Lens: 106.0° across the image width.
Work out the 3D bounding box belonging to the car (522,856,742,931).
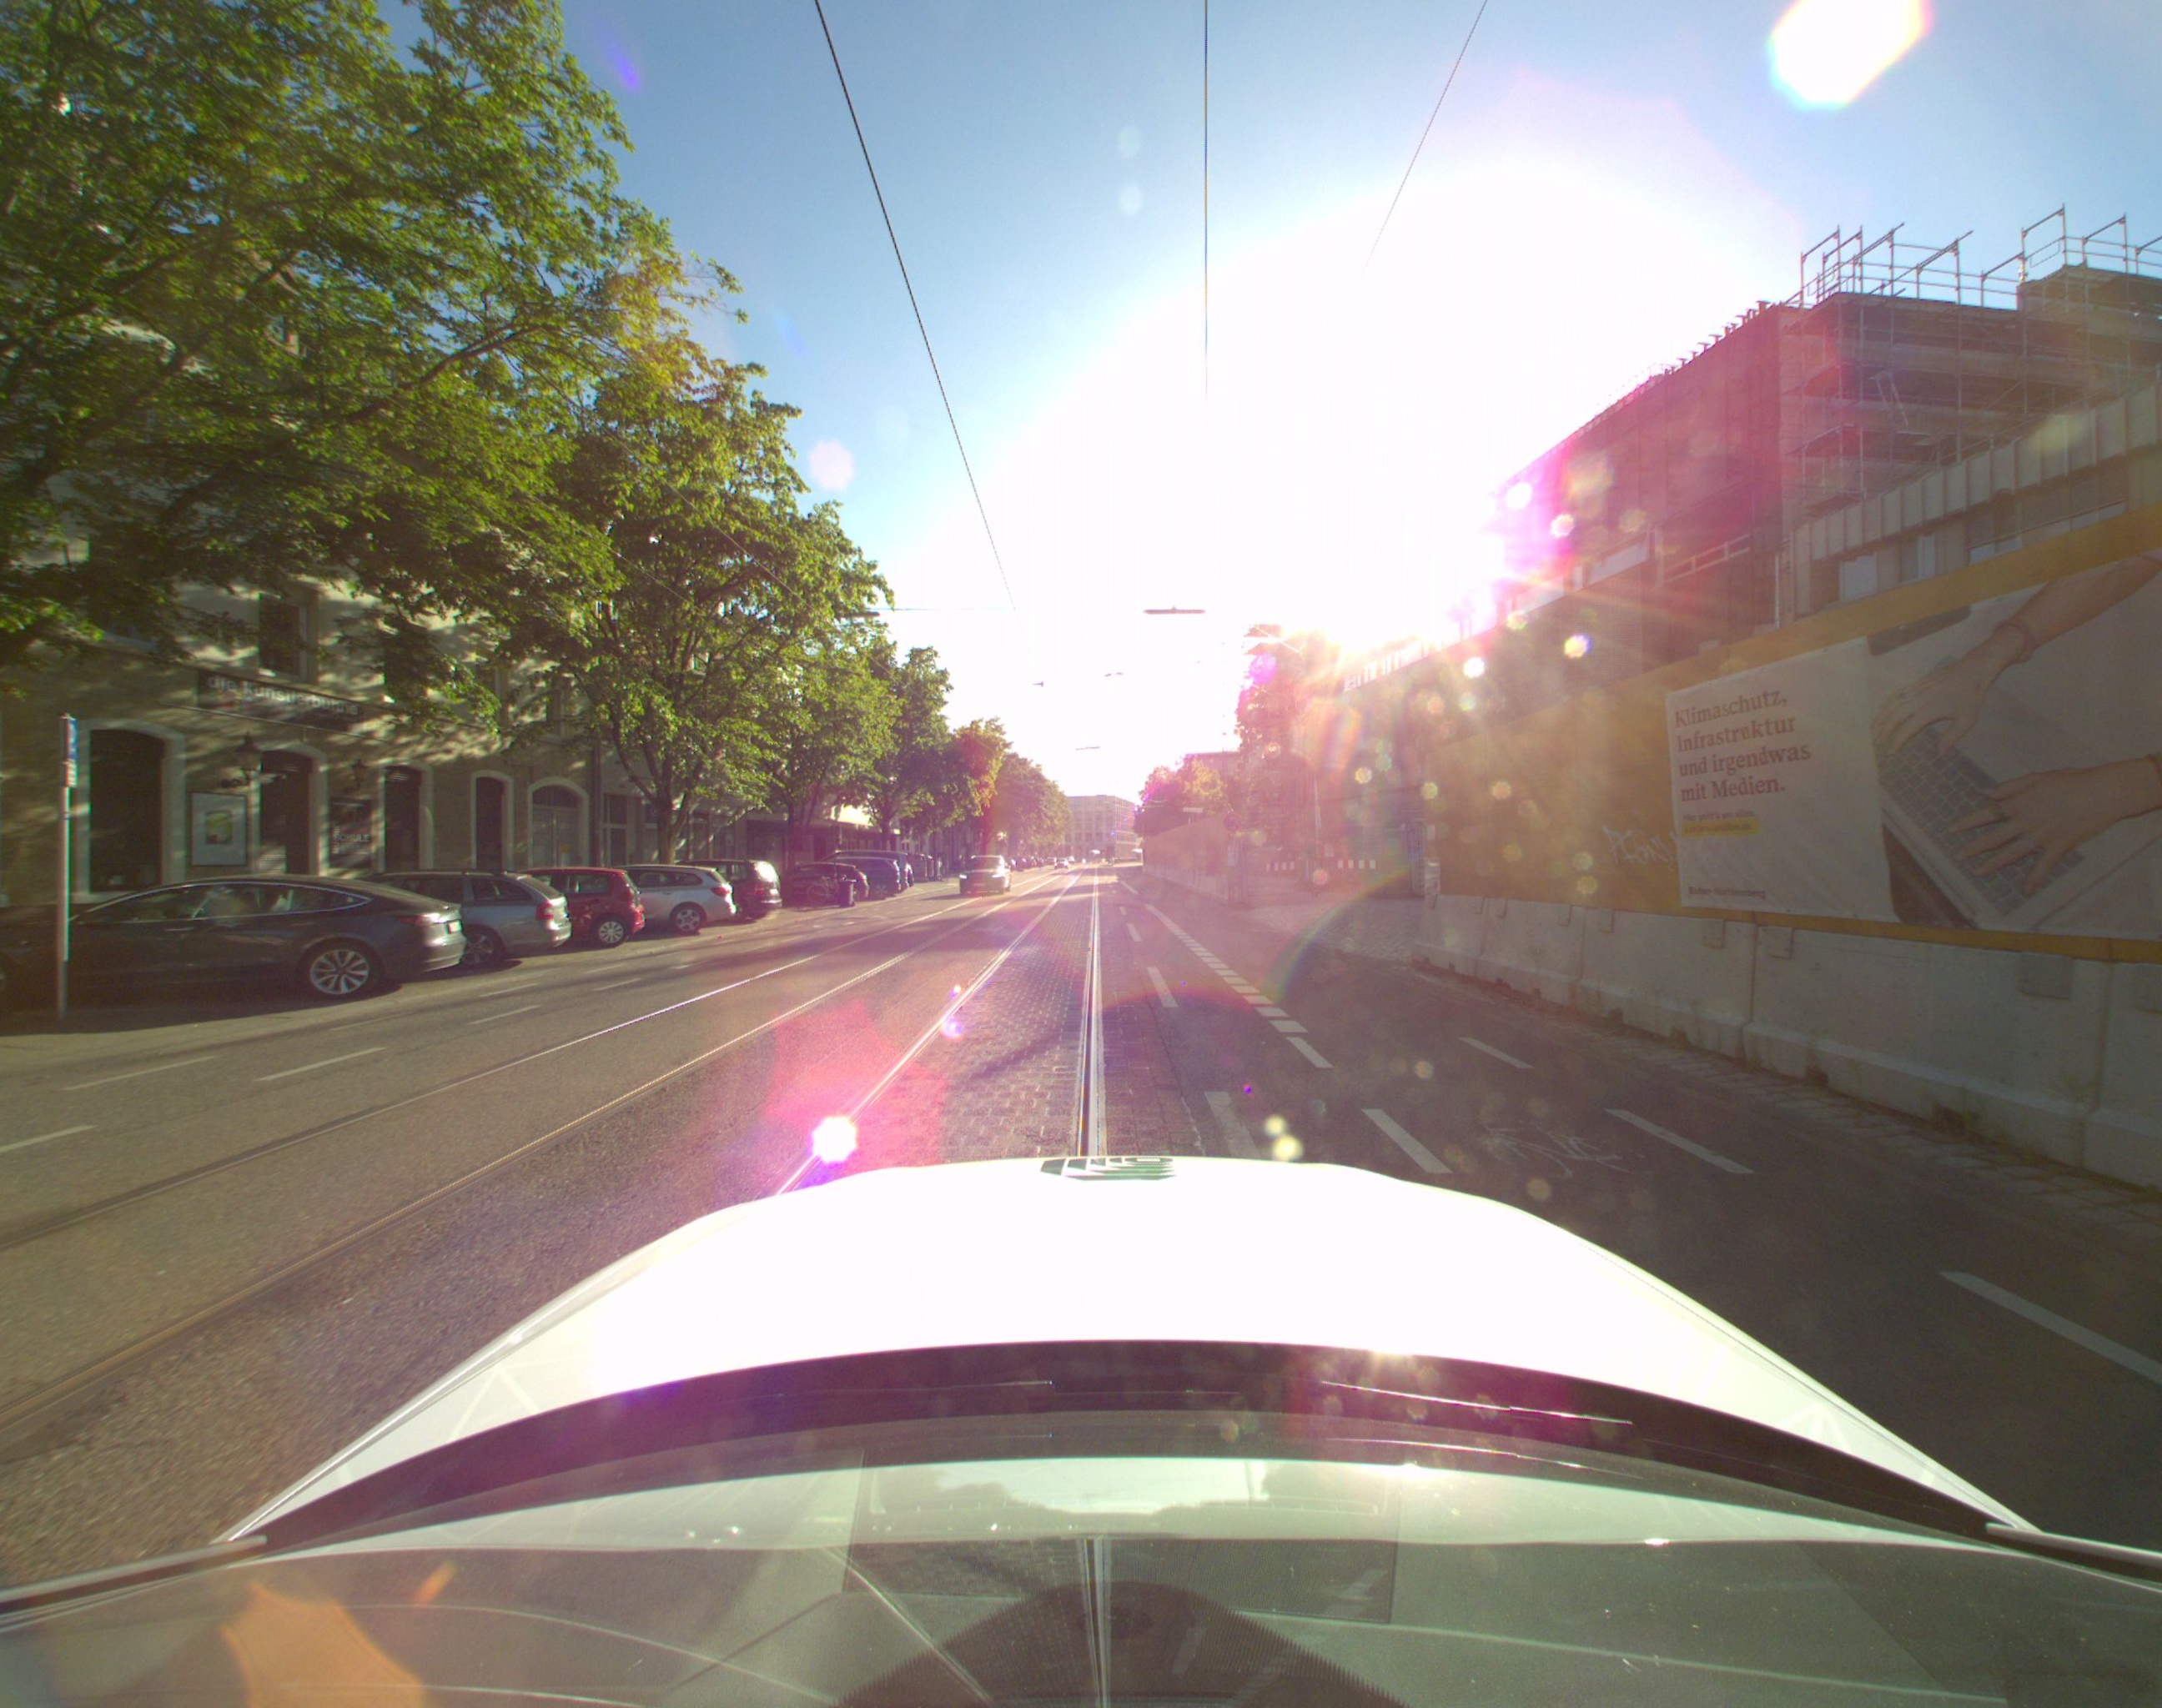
[{"bbox_3d":[-9.907,0.856,18.325,4.124,1.512,1.826,1,0,-26],"label":"car"}]

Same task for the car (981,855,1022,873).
[{"bbox_3d":[-7.816,1.015,80.311,3.701,1.721,1.594,0,-1,-34],"label":"car"}]

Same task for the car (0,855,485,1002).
[{"bbox_3d":[-10.121,0.807,9.976,4.210,1.491,1.927,1,-1,-26],"label":"car"}]

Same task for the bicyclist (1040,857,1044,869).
[{"bbox_3d":[-4.580,1.090,96.602,0.456,1.378,0.640,-1,-1,-4],"label":"bicyclist"}]

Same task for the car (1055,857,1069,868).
[{"bbox_3d":[-2.458,1.084,107.113,1.703,1.436,4.171,-1,0,0],"label":"car"}]

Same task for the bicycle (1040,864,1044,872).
[{"bbox_3d":[-4.591,1.665,96.716,0.448,0.881,1.898,-1,0,-3],"label":"bicycle"}]

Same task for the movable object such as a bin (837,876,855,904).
[{"bbox_3d":[-8.019,1.239,27.793,0.576,0.913,0.572,2,0,-15],"label":"movable object such as a bin"}]

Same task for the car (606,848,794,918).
[{"bbox_3d":[-10.079,0.756,21.791,4.092,1.678,1.840,2,-1,-2],"label":"car"}]

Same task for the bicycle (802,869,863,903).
[{"bbox_3d":[-8.665,1.118,28.451,1.970,1.144,0.490,1,-1,-18],"label":"bicycle"}]

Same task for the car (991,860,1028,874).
[{"bbox_3d":[-8.748,1.589,99.530,4.182,1.721,1.570,0,-1,-27],"label":"car"}]

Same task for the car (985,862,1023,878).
[{"bbox_3d":[-8.194,1.697,87.085,3.701,1.721,1.594,0,-1,-34],"label":"car"}]

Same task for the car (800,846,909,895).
[{"bbox_3d":[-9.793,0.732,35.210,4.369,1.986,1.936,2,-1,-21],"label":"car"}]

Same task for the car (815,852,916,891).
[{"bbox_3d":[-10.031,0.828,37.959,4.300,1.666,1.897,2,-1,-23],"label":"car"}]

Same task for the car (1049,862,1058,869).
[{"bbox_3d":[-5.510,2.310,165.940,1.567,1.490,4.001,-1,-1,1],"label":"car"}]

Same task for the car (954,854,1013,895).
[{"bbox_3d":[-4.106,0.841,34.974,1.921,1.629,4.249,-1,0,1],"label":"car"}]

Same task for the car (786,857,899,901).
[{"bbox_3d":[-8.754,0.901,30.038,3.865,1.476,1.833,-1,0,-17],"label":"car"}]

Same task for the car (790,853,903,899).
[{"bbox_3d":[-9.452,0.849,32.811,4.249,1.685,1.799,-1,0,-20],"label":"car"}]

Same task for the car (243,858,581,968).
[{"bbox_3d":[-9.968,0.842,12.550,3.693,1.470,1.737,2,-1,-28],"label":"car"}]

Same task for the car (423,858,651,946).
[{"bbox_3d":[-10.088,0.862,15.425,3.381,1.493,1.599,2,0,-27],"label":"car"}]
